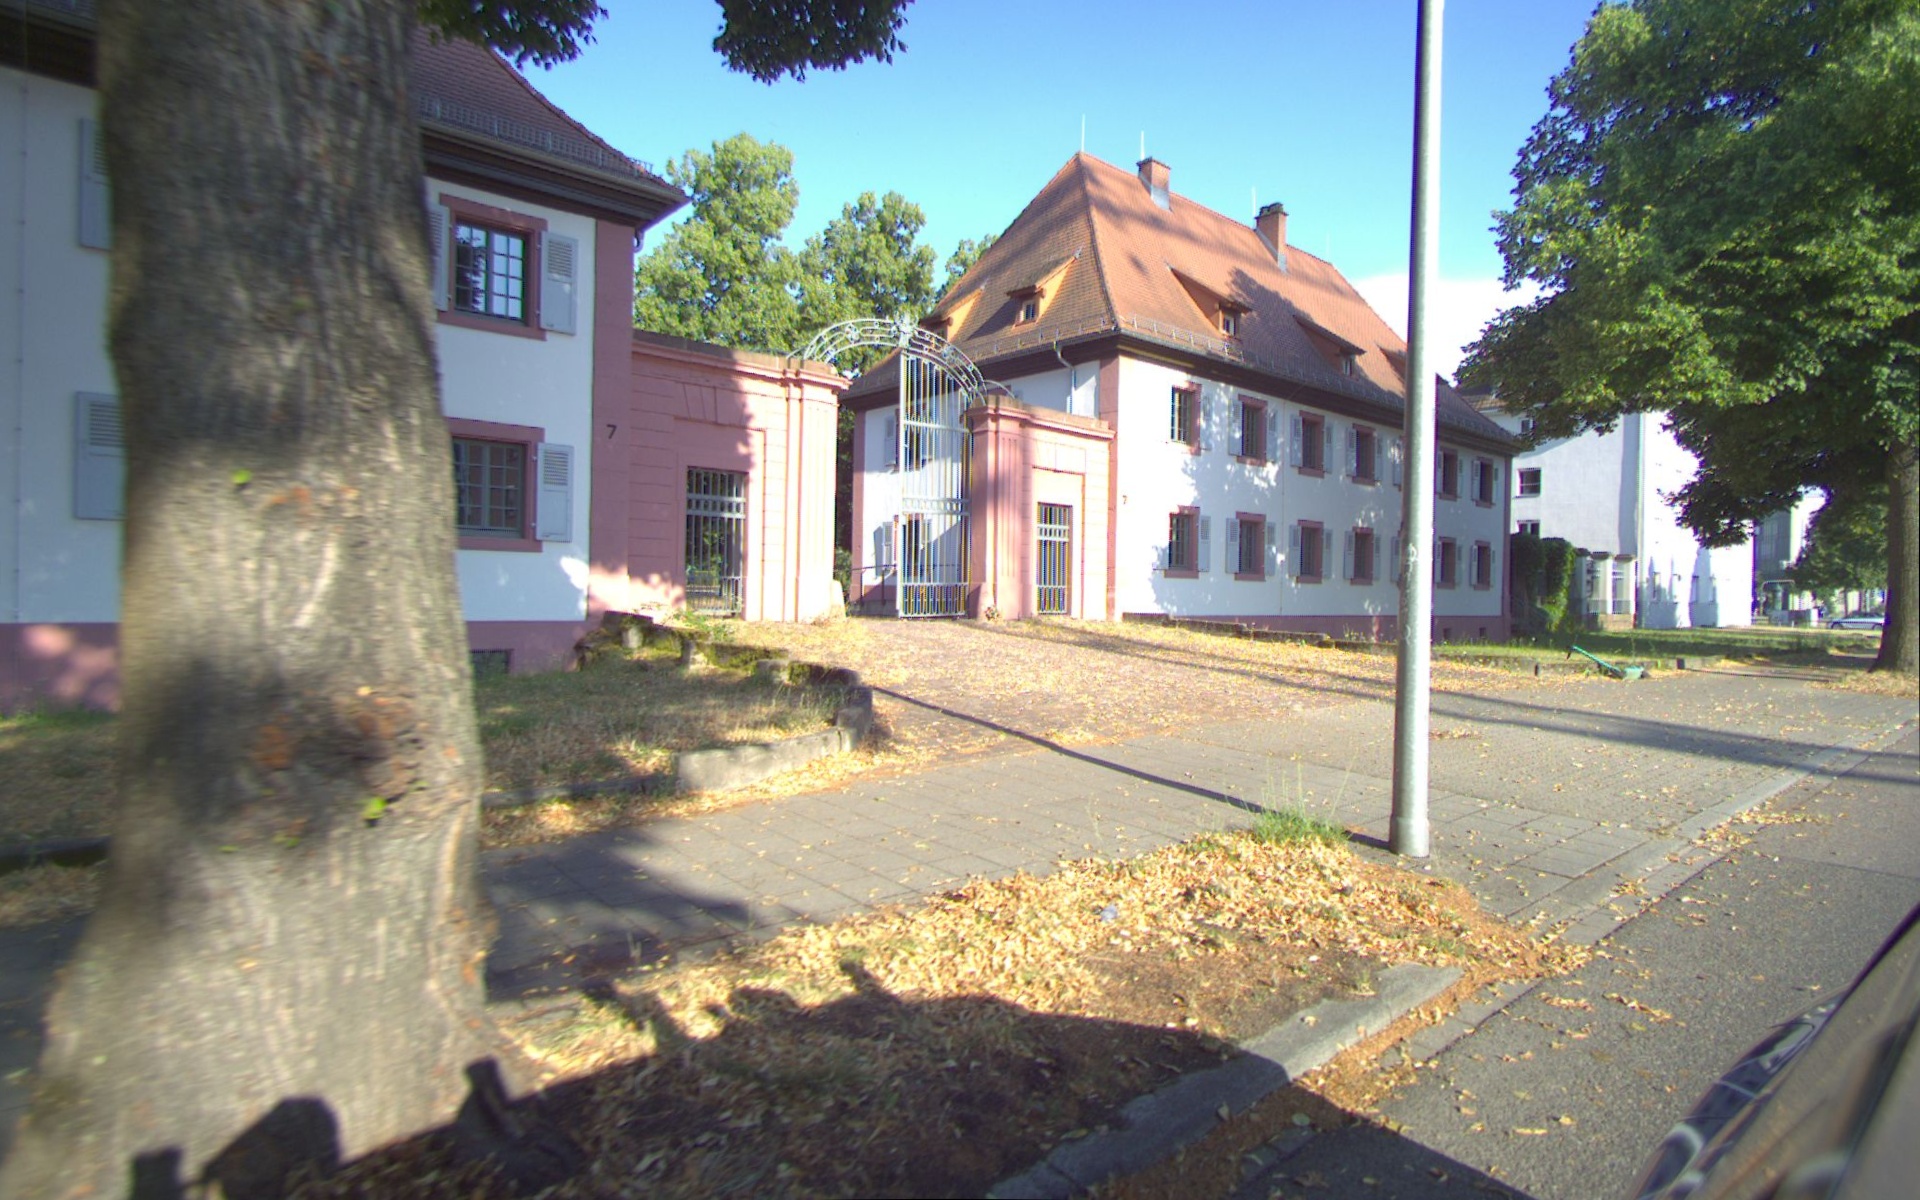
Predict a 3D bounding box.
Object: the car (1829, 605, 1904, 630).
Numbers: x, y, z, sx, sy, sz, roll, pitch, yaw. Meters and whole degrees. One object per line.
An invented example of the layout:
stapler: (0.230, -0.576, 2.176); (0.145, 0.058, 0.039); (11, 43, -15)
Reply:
car: (65.643, 1.277, 73.365); (1.729, 1.441, 3.625); (5, -8, -30)

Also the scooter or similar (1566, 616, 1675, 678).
scooter or similar: (11.675, 0.808, 17.914); (1.044, 0.552, 1.236); (-1, 25, -36)
